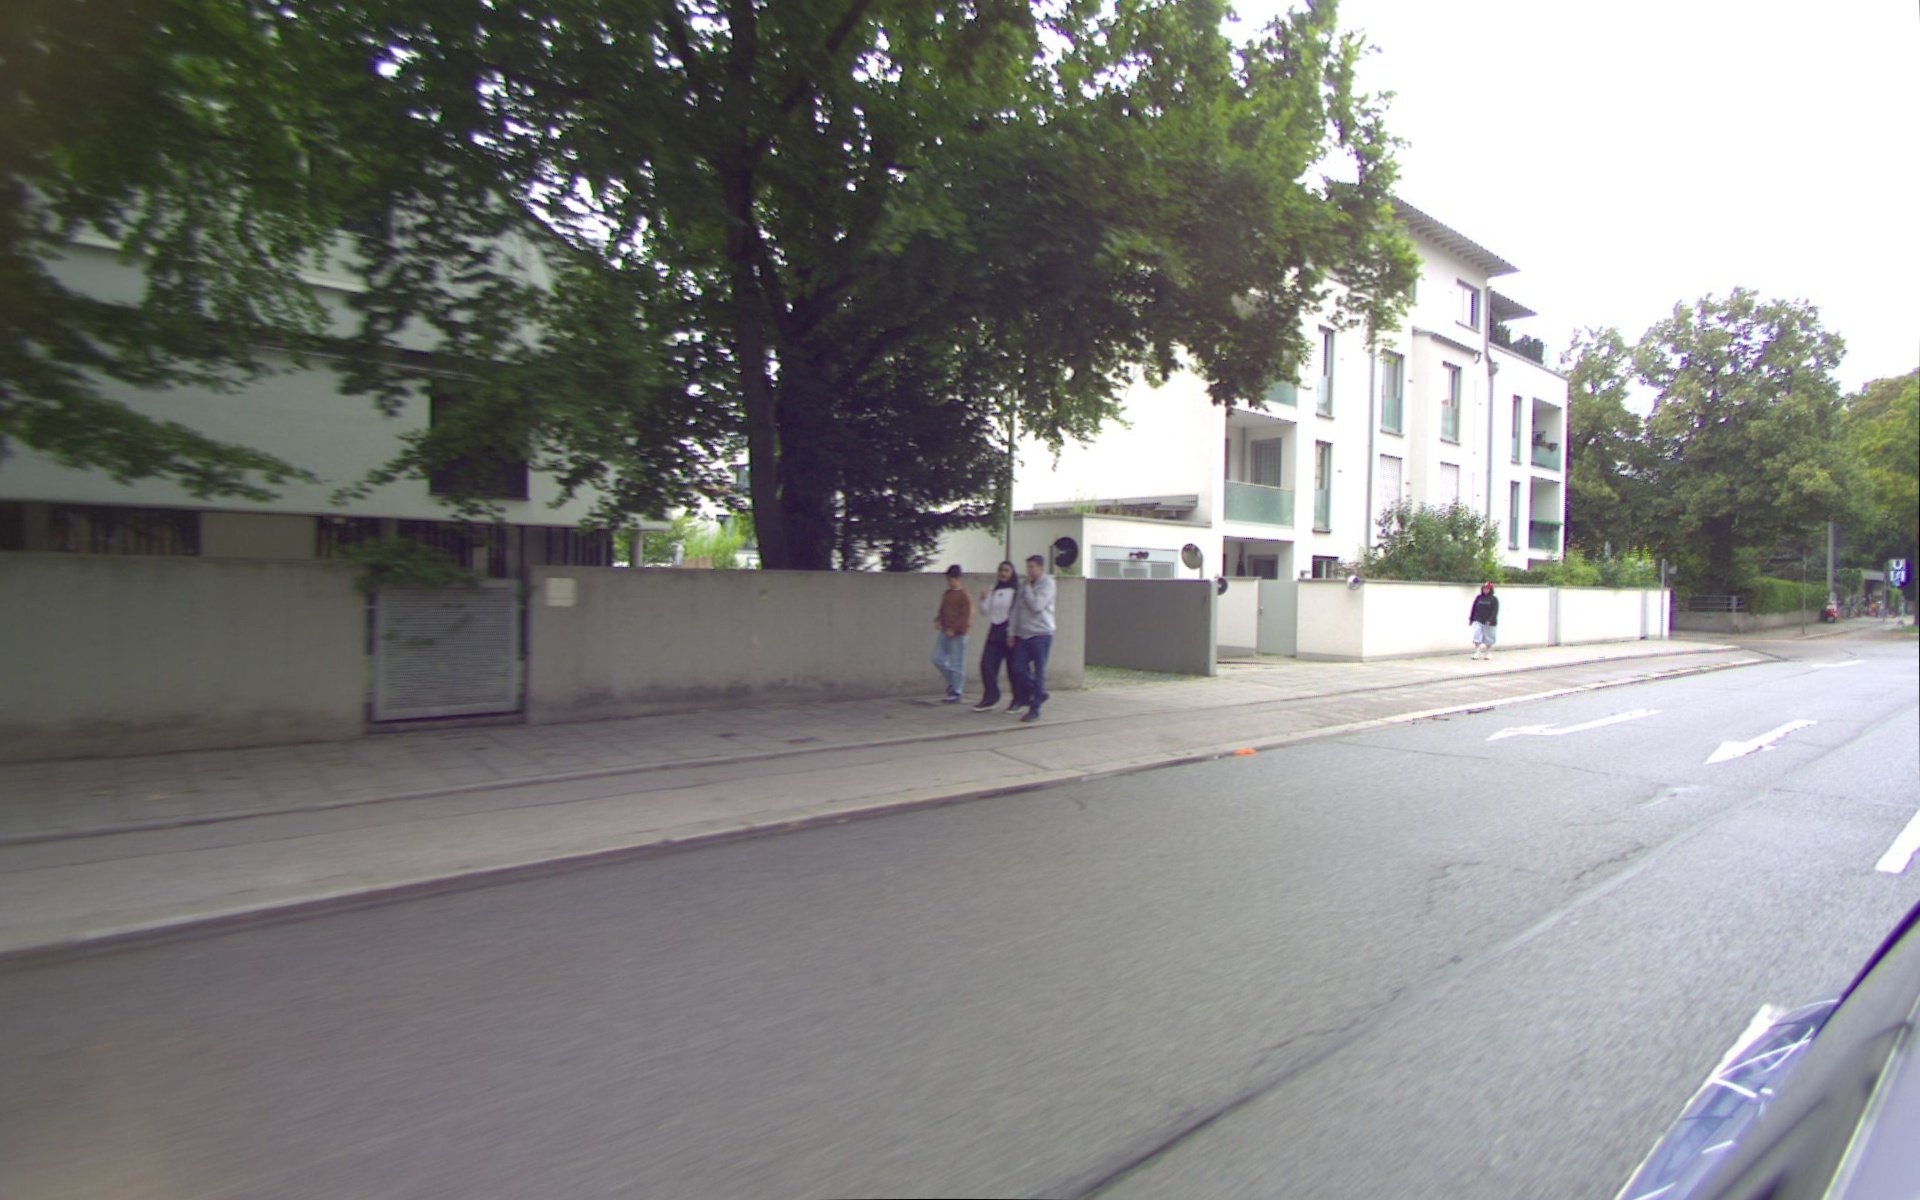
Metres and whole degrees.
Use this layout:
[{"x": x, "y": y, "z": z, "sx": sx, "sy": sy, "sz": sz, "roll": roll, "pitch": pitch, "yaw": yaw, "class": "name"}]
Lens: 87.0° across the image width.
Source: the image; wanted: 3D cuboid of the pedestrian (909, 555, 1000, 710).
[{"x": -0.067, "y": 0.359, "z": 11.877, "sx": 0.753, "sy": 1.726, "sz": 0.667, "roll": 0, "pitch": 3, "yaw": -42, "class": "pedestrian"}]

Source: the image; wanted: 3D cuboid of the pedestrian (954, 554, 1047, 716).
[{"x": 0.447, "y": 0.363, "z": 11.285, "sx": 0.716, "sy": 1.713, "sz": 0.667, "roll": 0, "pitch": 3, "yaw": -42, "class": "pedestrian"}]

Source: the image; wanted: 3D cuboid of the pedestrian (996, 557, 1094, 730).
[{"x": 0.905, "y": 0.431, "z": 10.740, "sx": 0.716, "sy": 1.743, "sz": 0.667, "roll": 0, "pitch": 3, "yaw": -42, "class": "pedestrian"}]

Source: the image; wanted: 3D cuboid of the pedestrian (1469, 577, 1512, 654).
[{"x": 11.397, "y": 0.327, "z": 21.741, "sx": 0.716, "sy": 1.600, "sz": 0.529, "roll": 0, "pitch": 3, "yaw": -42, "class": "pedestrian"}]

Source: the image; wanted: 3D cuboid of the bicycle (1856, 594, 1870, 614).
[{"x": 52.656, "y": 0.212, "z": 59.026, "sx": 0.488, "sy": 1.113, "sz": 1.610, "roll": 1, "pitch": 1, "yaw": 38, "class": "bicycle"}]

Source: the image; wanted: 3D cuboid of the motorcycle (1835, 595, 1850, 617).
[{"x": 47.157, "y": 0.314, "z": 54.073, "sx": 0.494, "sy": 1.156, "sz": 1.610, "roll": 1, "pitch": 1, "yaw": 38, "class": "motorcycle"}]
